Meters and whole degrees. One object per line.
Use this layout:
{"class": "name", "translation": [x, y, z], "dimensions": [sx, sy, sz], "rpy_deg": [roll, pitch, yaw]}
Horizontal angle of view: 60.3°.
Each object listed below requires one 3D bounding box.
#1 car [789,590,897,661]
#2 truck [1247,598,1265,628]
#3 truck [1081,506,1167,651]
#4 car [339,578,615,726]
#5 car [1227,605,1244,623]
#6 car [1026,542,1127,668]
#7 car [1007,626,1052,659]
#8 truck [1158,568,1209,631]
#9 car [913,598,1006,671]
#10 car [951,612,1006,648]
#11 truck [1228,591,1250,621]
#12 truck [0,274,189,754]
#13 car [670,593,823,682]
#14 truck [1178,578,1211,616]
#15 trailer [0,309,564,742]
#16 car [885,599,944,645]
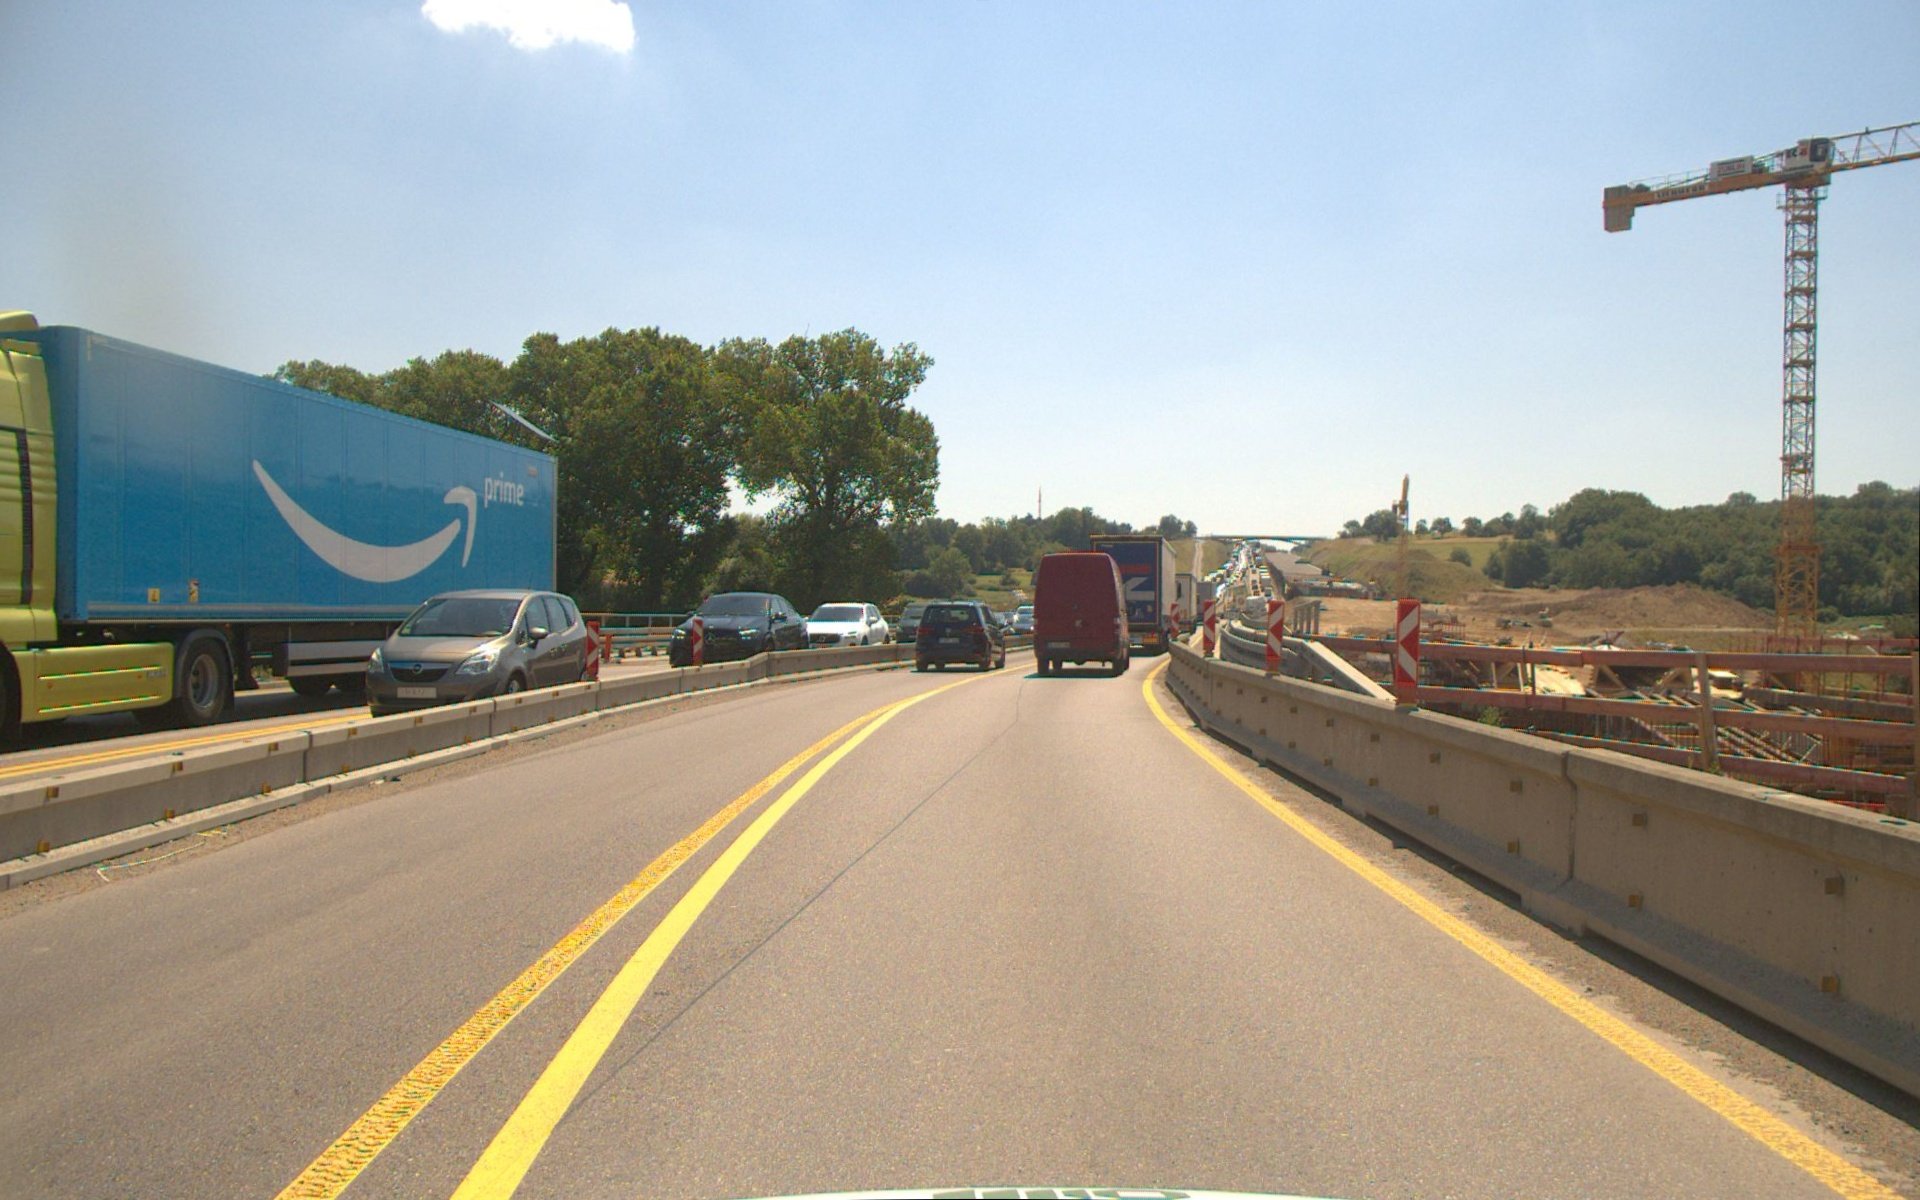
{"class": "car", "translation": [-3.008, 0.612, 43.626], "dimensions": [1.781, 1.675, 4.575], "rpy_deg": [1, 1, 10]}
{"class": "truck", "translation": [41.203, 1.825, 230.294], "dimensions": [2.242, 3.805, 6.486], "rpy_deg": [0, -4, 9]}
{"class": "truck", "translation": [6.142, -0.716, 61.168], "dimensions": [2.882, 5.032, 6.746], "rpy_deg": [0, -1, 8]}
{"class": "car", "translation": [-5.858, 0.588, 20.655], "dimensions": [1.782, 1.612, 4.304], "rpy_deg": [1, 0, 6]}
{"class": "car", "translation": [27.576, 1.387, 165.389], "dimensions": [1.583, 1.729, 3.893], "rpy_deg": [1, -1, 9]}
{"class": "car", "translation": [2.712, 0.206, 38.366], "dimensions": [2.105, 2.657, 5.440], "rpy_deg": [1, -2, 4]}
{"class": "car", "translation": [3.428, 2.079, 81.182], "dimensions": [1.719, 1.523, 4.443], "rpy_deg": [1, 0, 8]}
{"class": "truck", "translation": [14.812, 0.001, 109.440], "dimensions": [3.114, 4.060, 6.746], "rpy_deg": [0, -1, 9]}
{"class": "car", "translation": [0.052, 0.838, 40.668], "dimensions": [1.697, 1.664, 4.392], "rpy_deg": [1, -1, 7]}
{"class": "car", "translation": [0.774, 1.188, 67.362], "dimensions": [1.633, 1.389, 4.443], "rpy_deg": [1, 0, 8]}
{"class": "truck", "translation": [31.218, 0.697, 185.348], "dimensions": [2.242, 3.252, 6.487], "rpy_deg": [0, 0, 8]}
{"class": "truck", "translation": [-9.950, -0.795, 15.712], "dimensions": [2.570, 4.345, 4.734], "rpy_deg": [2, -1, 5]}
{"class": "car", "translation": [-4.292, 0.734, 34.044], "dimensions": [1.841, 1.676, 4.718], "rpy_deg": [1, 0, 9]}
{"class": "truck", "translation": [23.354, -0.242, 164.262], "dimensions": [3.115, 3.030, 8.904], "rpy_deg": [0, -4, 9]}
{"class": "trailer", "translation": [-9.210, -0.639, 23.446], "dimensions": [2.591, 4.368, 13.316], "rpy_deg": [2, -1, 6]}
{"class": "car", "translation": [-1.990, 0.979, 74.176], "dimensions": [1.781, 1.977, 5.068], "rpy_deg": [1, -1, 8]}
